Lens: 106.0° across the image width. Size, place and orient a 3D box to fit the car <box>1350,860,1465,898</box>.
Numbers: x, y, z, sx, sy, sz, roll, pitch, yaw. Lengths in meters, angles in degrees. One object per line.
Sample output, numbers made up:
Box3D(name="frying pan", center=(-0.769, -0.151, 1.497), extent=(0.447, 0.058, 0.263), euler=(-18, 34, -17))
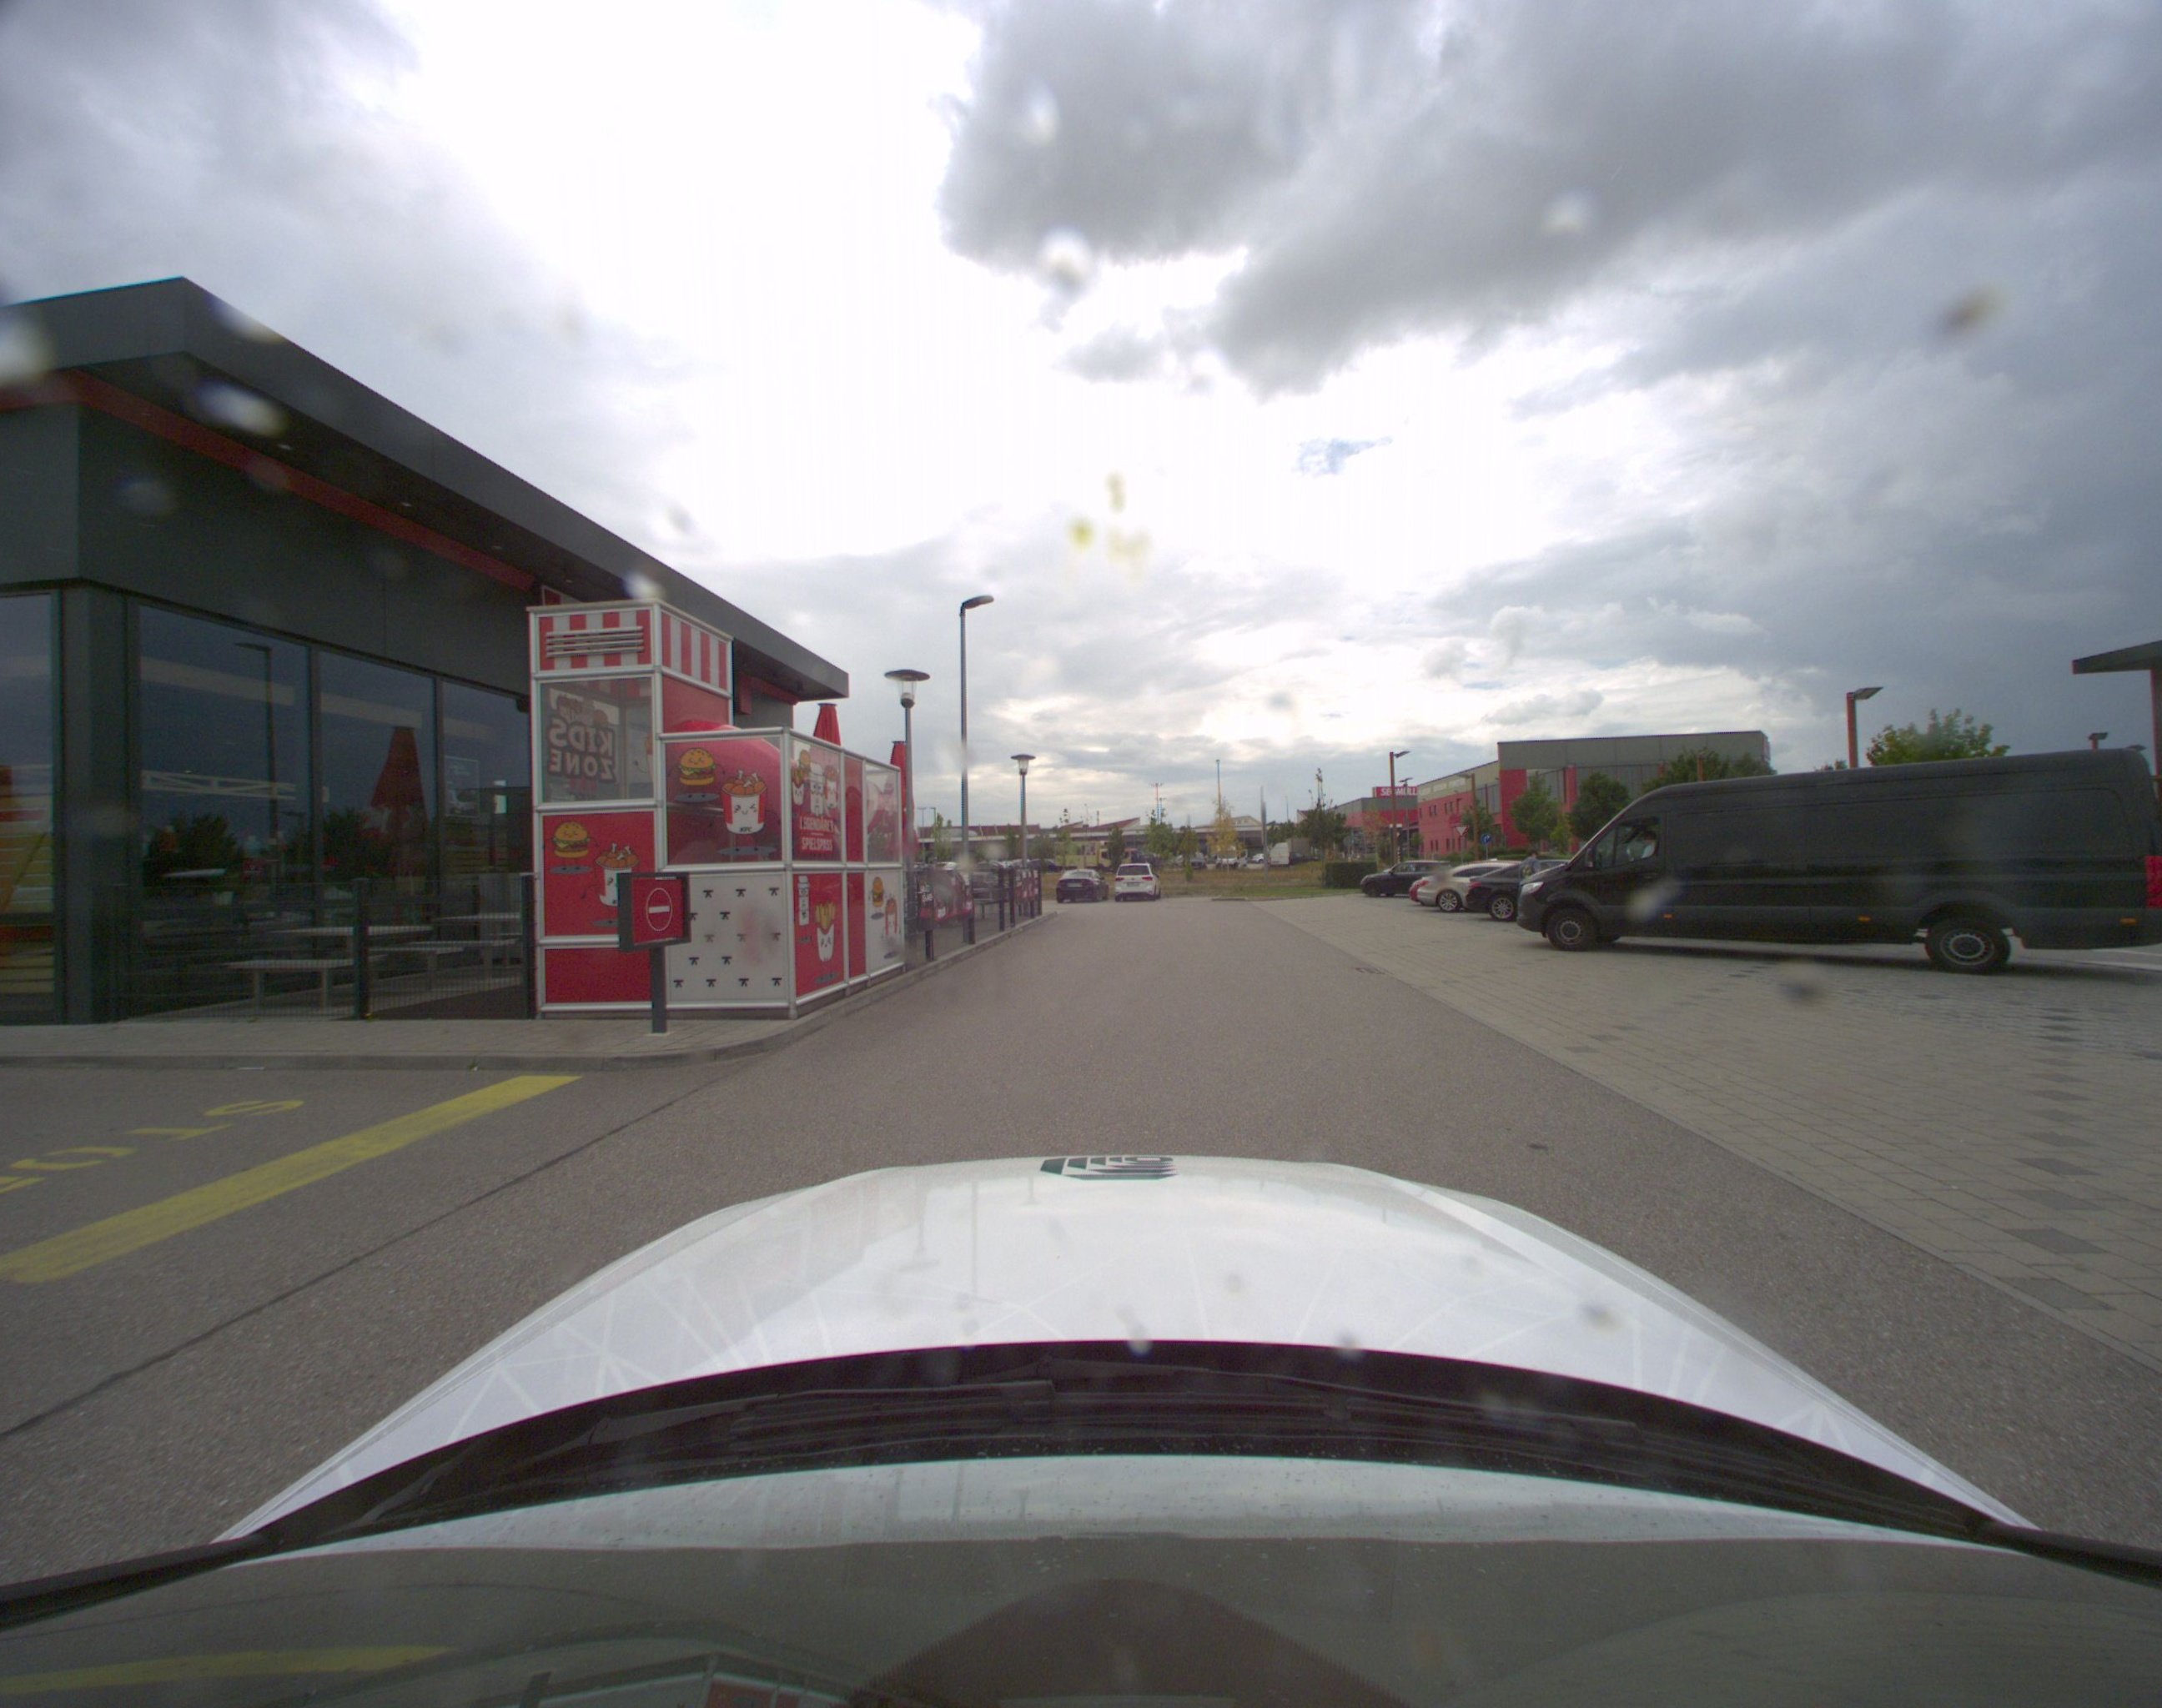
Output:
Box3D(name="car", center=(12.943, 0.956, 32.451), extent=(3.881, 1.412, 1.697), euler=(-1, -1, 44))

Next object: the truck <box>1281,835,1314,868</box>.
Box3D(name="truck", center=(26.581, -0.345, 100.376), extent=(2.634, 3.743, 8.273), euler=(-2, 1, 7))

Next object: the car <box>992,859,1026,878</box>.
Box3D(name="car", center=(-7.626, 1.500, 86.754), extent=(1.909, 1.771, 4.344), euler=(-2, 1, 21))

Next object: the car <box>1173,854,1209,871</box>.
Box3D(name="car", center=(12.507, 0.977, 92.332), extent=(3.965, 1.738, 1.895), euler=(-2, 1, 7))

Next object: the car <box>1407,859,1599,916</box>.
Box3D(name="car", center=(11.583, 0.871, 22.585), extent=(1.763, 1.412, 4.405), euler=(0, -1, -43))

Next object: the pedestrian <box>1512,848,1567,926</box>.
Box3D(name="pedestrian", center=(10.135, 0.728, 18.024), extent=(0.753, 1.678, 0.832), euler=(2, -3, -41))

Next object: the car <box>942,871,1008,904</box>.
Box3D(name="car", center=(-4.851, 1.546, 37.706), extent=(1.871, 1.412, 4.081), euler=(-1, -2, 10))

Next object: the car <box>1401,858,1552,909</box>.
Box3D(name="car", center=(12.391, 0.887, 25.668), extent=(1.697, 1.464, 3.950), euler=(0, -1, -45))

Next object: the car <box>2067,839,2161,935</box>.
Box3D(name="car", center=(19.717, 0.539, 15.117), extent=(4.021, 1.510, 1.749), euler=(-3, 1, -40))

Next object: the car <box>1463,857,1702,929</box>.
Box3D(name="car", center=(11.323, 0.816, 18.641), extent=(1.696, 1.463, 4.354), euler=(0, -1, -42))

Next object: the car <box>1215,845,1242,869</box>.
Box3D(name="car", center=(14.621, 0.224, 80.879), extent=(2.395, 2.214, 6.073), euler=(-1, 1, 8))

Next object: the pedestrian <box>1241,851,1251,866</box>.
Box3D(name="pedestrian", center=(16.102, 0.406, 79.461), extent=(0.780, 1.429, 0.980), euler=(-2, 1, 8))

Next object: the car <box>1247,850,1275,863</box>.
Box3D(name="car", center=(26.080, 0.350, 118.064), extent=(3.962, 1.837, 2.006), euler=(-2, 1, 10))

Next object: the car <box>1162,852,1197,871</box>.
Box3D(name="car", center=(11.676, 0.887, 96.750), extent=(3.973, 2.013, 2.000), euler=(-2, 1, 0))

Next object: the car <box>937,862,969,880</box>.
Box3D(name="car", center=(-14.057, 1.829, 89.676), extent=(1.980, 1.771, 4.337), euler=(-2, 1, 13))

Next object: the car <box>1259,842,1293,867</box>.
Box3D(name="car", center=(19.186, 0.029, 80.347), extent=(2.326, 2.267, 6.517), euler=(-2, 1, 6))

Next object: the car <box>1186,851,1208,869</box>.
Box3D(name="car", center=(11.578, 0.614, 81.202), extent=(2.059, 1.638, 5.082), euler=(-1, 1, 8))

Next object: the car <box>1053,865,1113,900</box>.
Box3D(name="car", center=(0.150, 1.284, 36.915), extent=(1.929, 1.467, 4.528), euler=(-1, -2, 10))

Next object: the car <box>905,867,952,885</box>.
Box3D(name="car", center=(-12.547, 1.809, 67.075), extent=(3.425, 1.370, 1.437), euler=(-2, 1, 11))

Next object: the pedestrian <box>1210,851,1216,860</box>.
Box3D(name="pedestrian", center=(22.629, 0.296, 139.998), extent=(0.655, 1.429, 0.791), euler=(-2, 1, -29))

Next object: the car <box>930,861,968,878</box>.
Box3D(name="car", center=(-15.552, 1.822, 95.867), extent=(3.949, 1.771, 2.013), euler=(-2, 1, 30))

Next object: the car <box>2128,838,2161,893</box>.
Box3D(name="car", center=(33.346, 0.297, 23.322), extent=(3.855, 1.584, 1.761), euler=(-1, 1, 42))

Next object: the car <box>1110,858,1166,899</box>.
Box3D(name="car", center=(2.616, 1.121, 36.422), extent=(1.973, 1.713, 4.384), euler=(-1, -2, 10))

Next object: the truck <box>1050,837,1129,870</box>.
Box3D(name="truck", center=(0.802, 0.003, 84.446), extent=(3.047, 3.196, 8.328), euler=(-3, 1, -44))

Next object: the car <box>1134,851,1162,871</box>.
Box3D(name="car", center=(6.884, 0.734, 82.825), extent=(2.056, 1.885, 5.089), euler=(-1, -1, 14))

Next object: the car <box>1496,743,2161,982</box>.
Box3D(name="car", center=(10.092, 0.134, 11.833), extent=(2.085, 2.553, 6.927), euler=(0, -1, -43))

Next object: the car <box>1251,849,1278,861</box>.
Box3D(name="car", center=(28.465, 0.158, 126.365), extent=(3.962, 1.736, 1.940), euler=(-2, 1, 10))
